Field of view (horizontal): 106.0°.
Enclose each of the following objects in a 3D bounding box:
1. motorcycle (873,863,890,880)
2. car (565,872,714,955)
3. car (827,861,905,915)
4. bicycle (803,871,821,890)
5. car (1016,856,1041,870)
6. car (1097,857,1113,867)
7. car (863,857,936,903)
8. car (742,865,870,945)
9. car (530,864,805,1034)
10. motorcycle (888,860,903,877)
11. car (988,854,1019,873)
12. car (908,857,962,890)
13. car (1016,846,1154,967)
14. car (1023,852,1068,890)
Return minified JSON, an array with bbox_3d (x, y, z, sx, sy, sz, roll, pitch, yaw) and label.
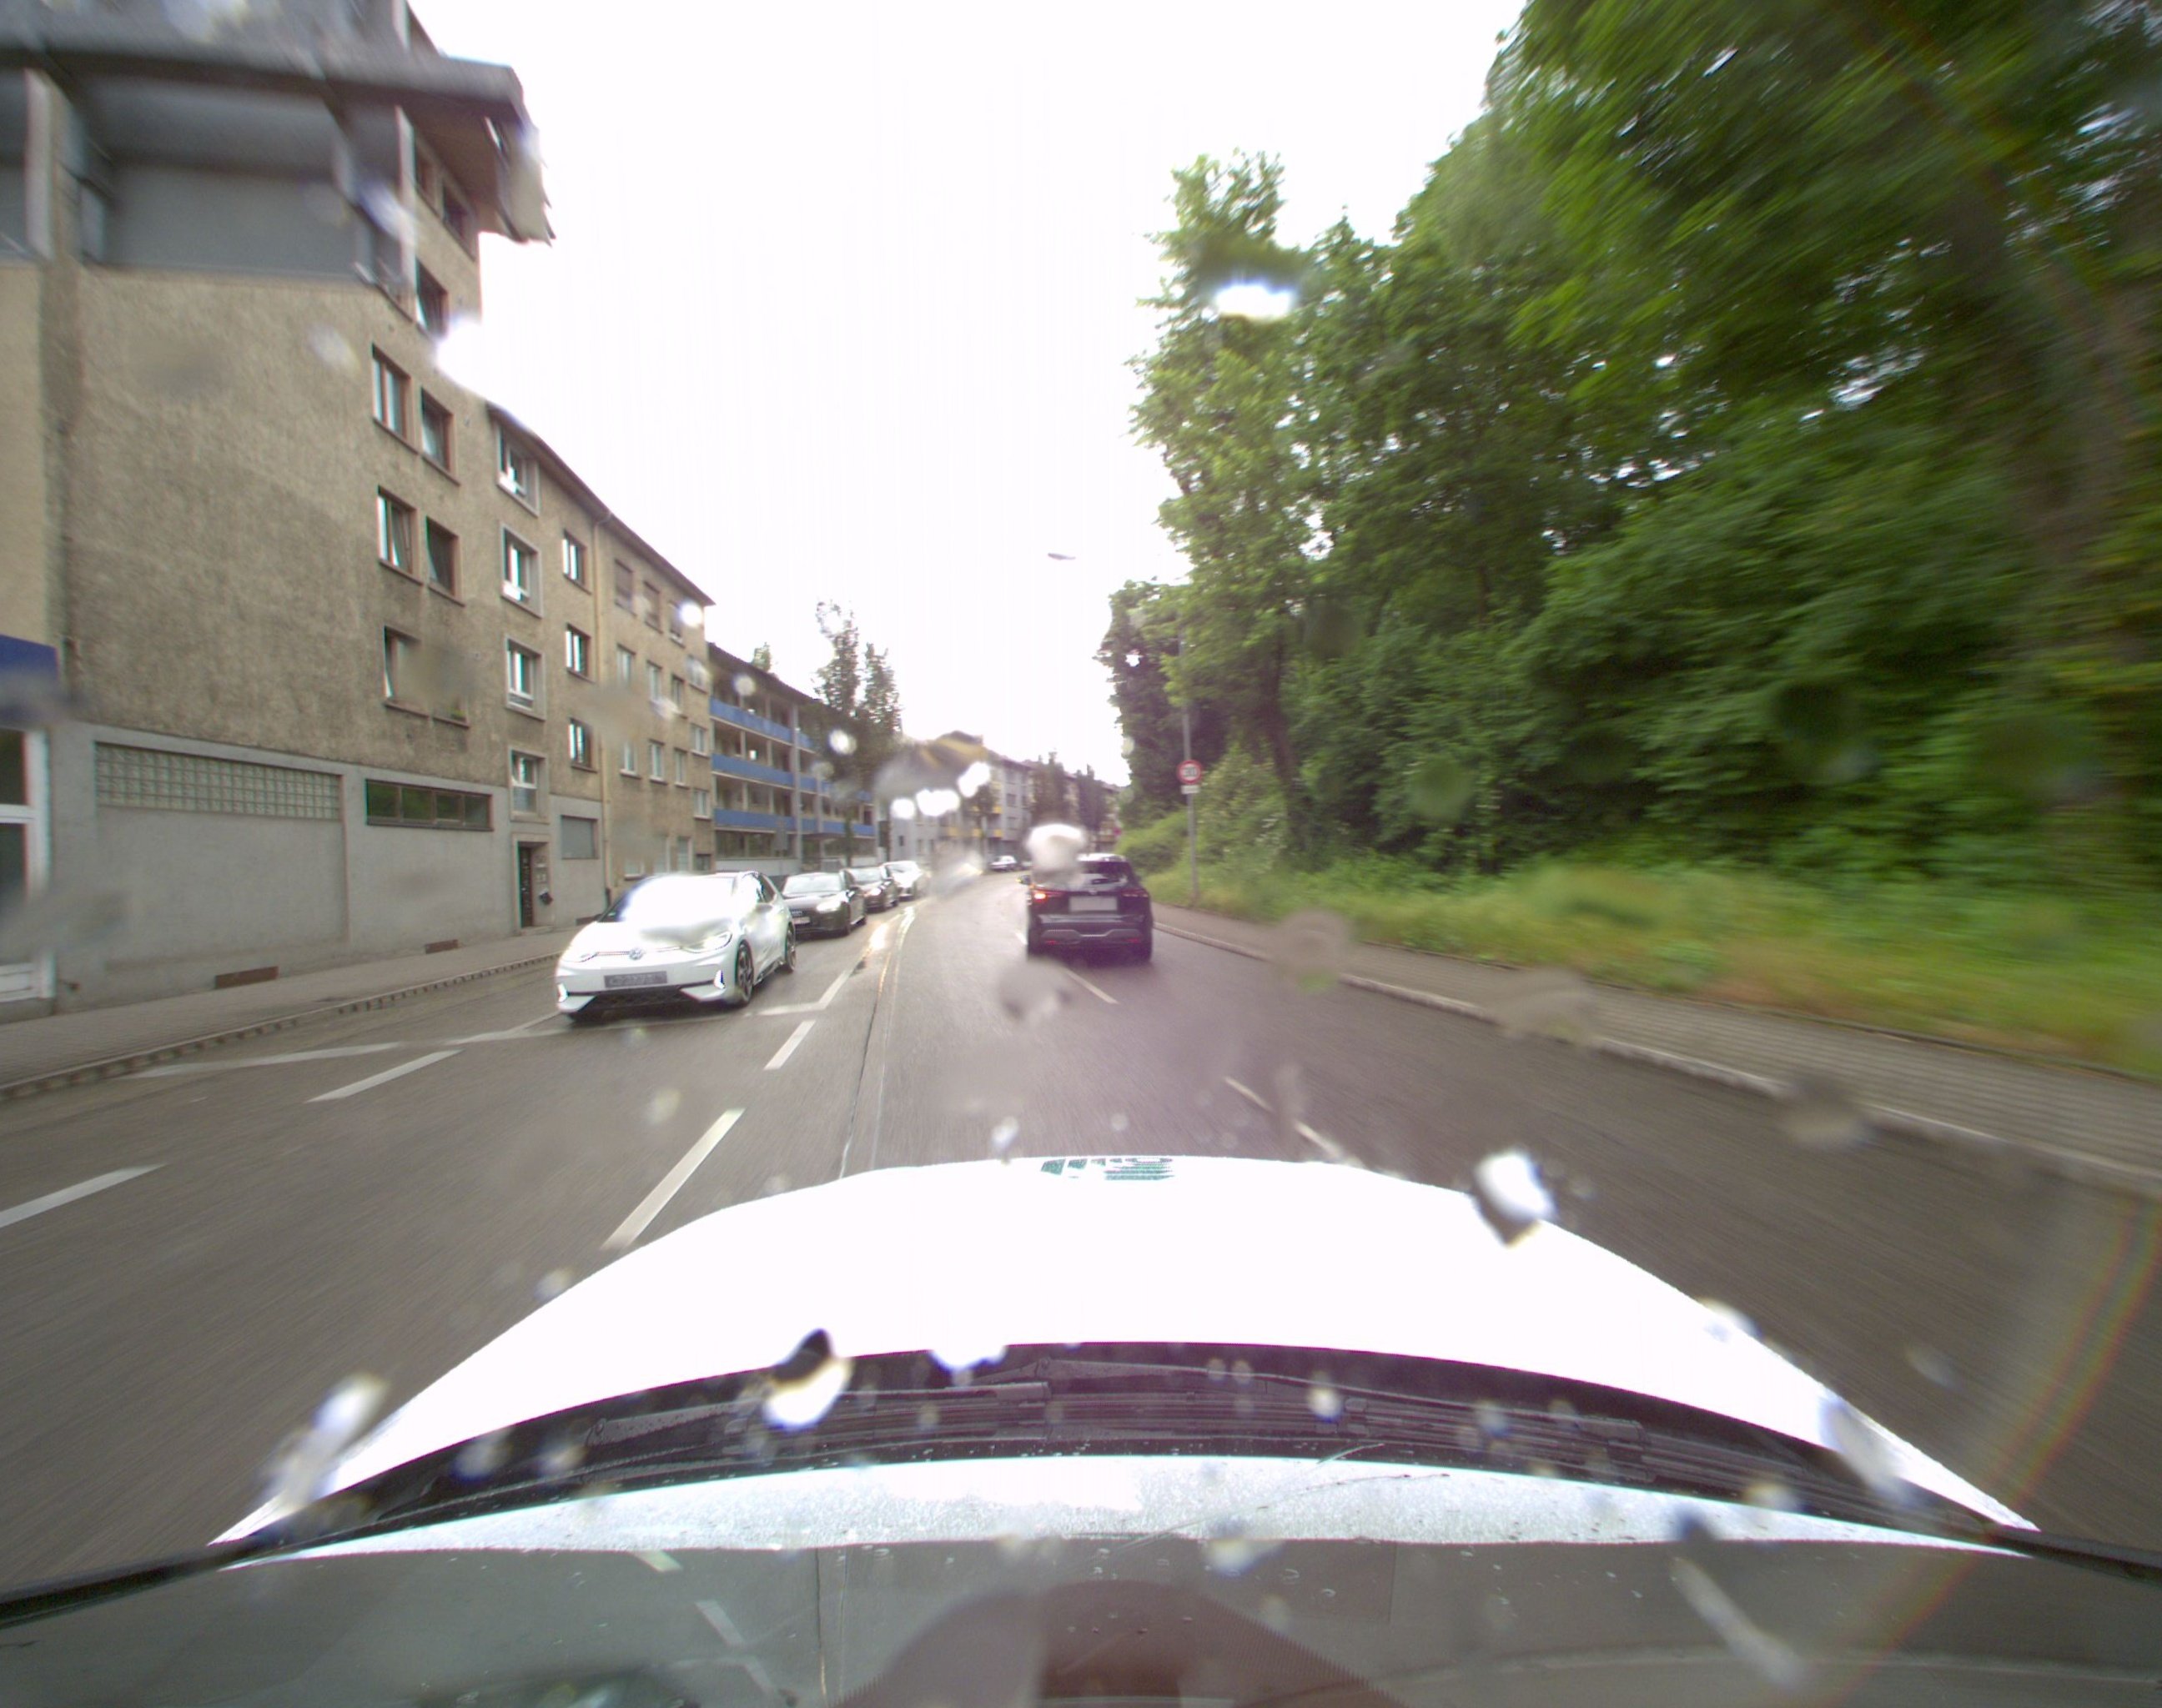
[{"bbox_3d":[-16.013,1.382,65.320,0.672,1.254,2.239,-1,0,4],"label":"motorcycle"},{"bbox_3d":[-9.723,1.234,18.297,1.658,1.455,3.986,-4,1,-10],"label":"car"},{"bbox_3d":[-6.807,1.028,26.116,1.677,1.447,3.814,-4,0,-5],"label":"car"},{"bbox_3d":[-15.587,1.533,47.217,0.612,1.023,1.729,-3,0,-8],"label":"bicycle"},{"bbox_3d":[-5.759,0.968,90.289,1.713,1.453,4.217,-3,0,10],"label":"car"},{"bbox_3d":[3.782,1.256,129.552,1.614,1.387,4.004,-4,0,15],"label":"car"},{"bbox_3d":[-7.157,0.973,32.561,1.815,1.516,5.025,-4,0,-2],"label":"car"},{"bbox_3d":[-6.035,1.032,18.413,1.789,1.407,4.613,-3,0,-7],"label":"car"},{"bbox_3d":[-4.776,0.953,10.153,1.785,1.496,4.202,-4,0,-10],"label":"car"},{"bbox_3d":[-15.861,1.246,69.616,0.672,1.414,2.237,0,0,2],"label":"motorcycle"},{"bbox_3d":[-7.538,0.914,79.562,1.753,1.604,4.546,-4,0,10],"label":"car"},{"bbox_3d":[-7.059,0.904,39.770,1.747,1.425,4.536,-3,0,0],"label":"car"},{"bbox_3d":[-0.098,0.692,13.063,1.842,1.582,3.994,-2,1,-5],"label":"car"},{"bbox_3d":[-1.700,0.784,39.995,1.880,1.711,4.001,-2,0,1],"label":"car"}]
